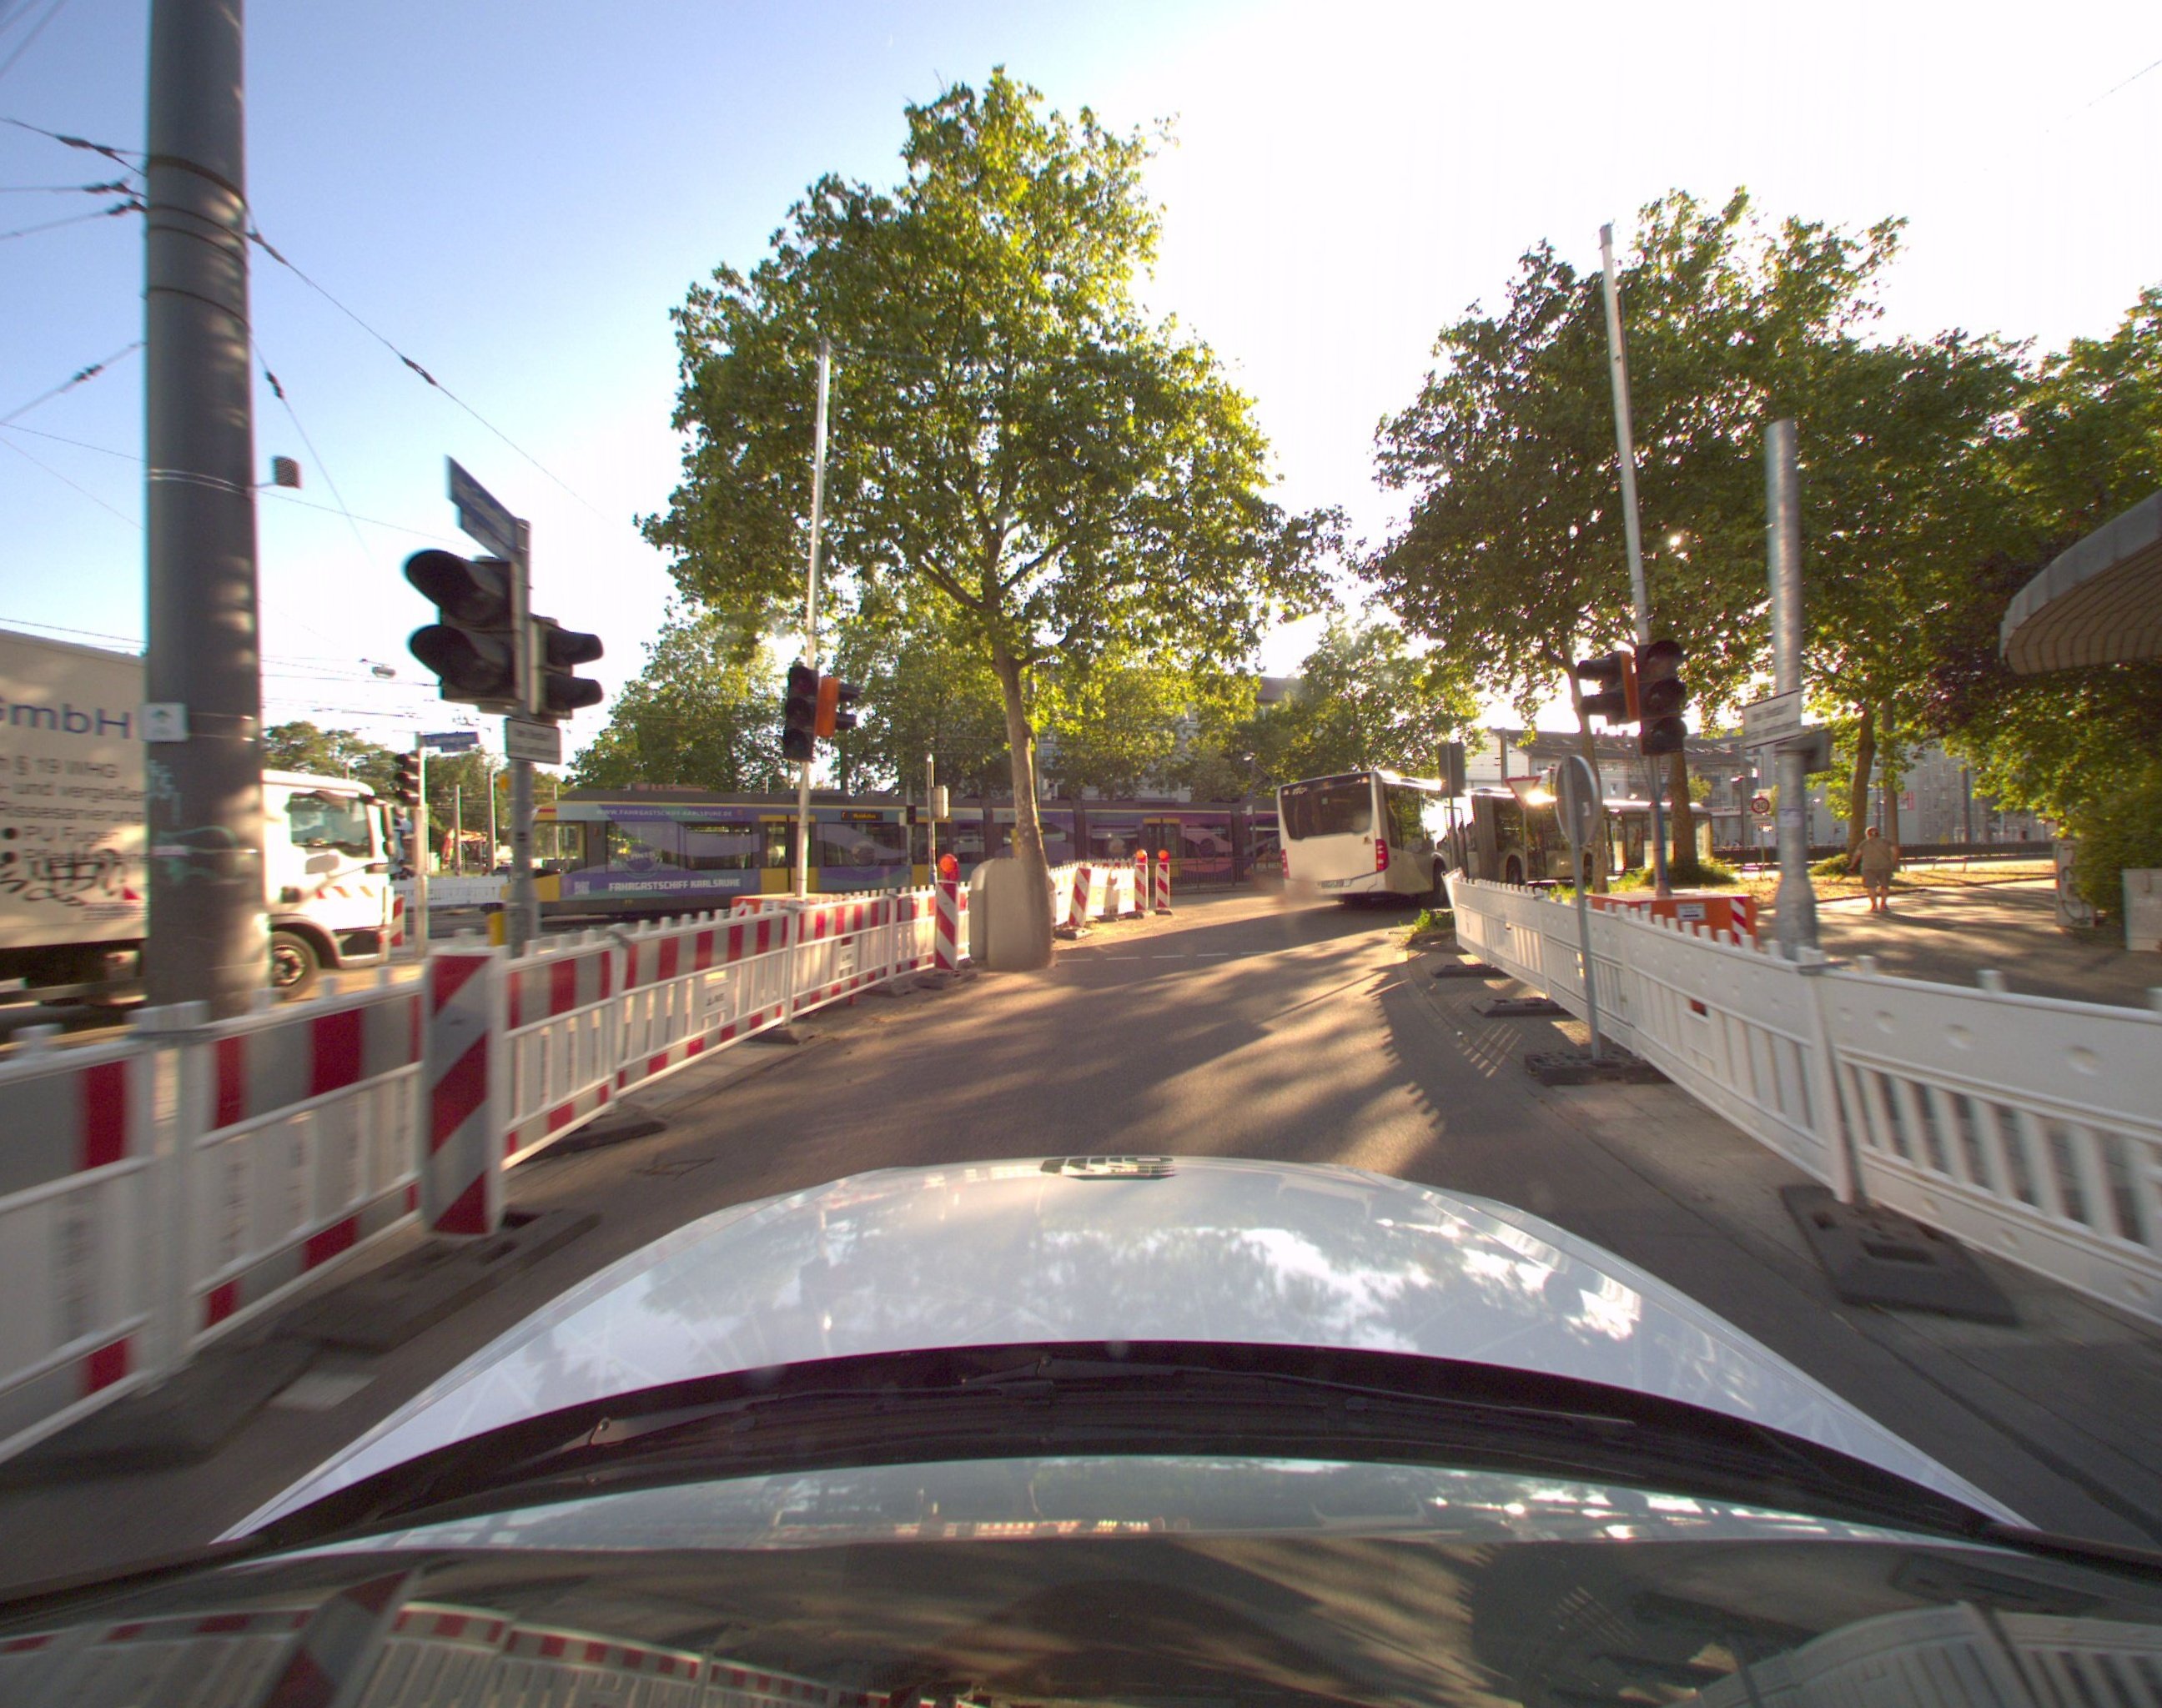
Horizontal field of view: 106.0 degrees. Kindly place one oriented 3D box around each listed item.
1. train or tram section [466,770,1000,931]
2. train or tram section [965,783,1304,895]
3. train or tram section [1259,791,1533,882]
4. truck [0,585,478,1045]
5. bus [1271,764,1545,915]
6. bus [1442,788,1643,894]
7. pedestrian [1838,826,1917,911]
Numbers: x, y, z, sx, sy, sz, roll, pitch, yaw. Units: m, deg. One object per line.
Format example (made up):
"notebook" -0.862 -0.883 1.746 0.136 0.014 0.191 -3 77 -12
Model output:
"train or tram section" -8.868 -0.152 23.028 13.453 3.533 2.828 -1 -1 -35
"train or tram section" 2.307 -0.564 29.895 12.812 3.549 2.713 -1 -1 -27
"train or tram section" 14.045 -0.777 35.597 13.354 3.519 2.627 -1 -1 -25
"truck" -9.730 -0.278 6.137 2.797 3.541 9.002 -1 0 7
"bus" 9.211 -0.427 21.756 10.766 3.138 2.708 -2 1 -45
"bus" 15.950 -0.492 27.779 9.023 3.107 2.686 -2 1 -38
"pedestrian" 14.236 0.248 14.569 0.818 1.474 0.785 -1 0 -29
